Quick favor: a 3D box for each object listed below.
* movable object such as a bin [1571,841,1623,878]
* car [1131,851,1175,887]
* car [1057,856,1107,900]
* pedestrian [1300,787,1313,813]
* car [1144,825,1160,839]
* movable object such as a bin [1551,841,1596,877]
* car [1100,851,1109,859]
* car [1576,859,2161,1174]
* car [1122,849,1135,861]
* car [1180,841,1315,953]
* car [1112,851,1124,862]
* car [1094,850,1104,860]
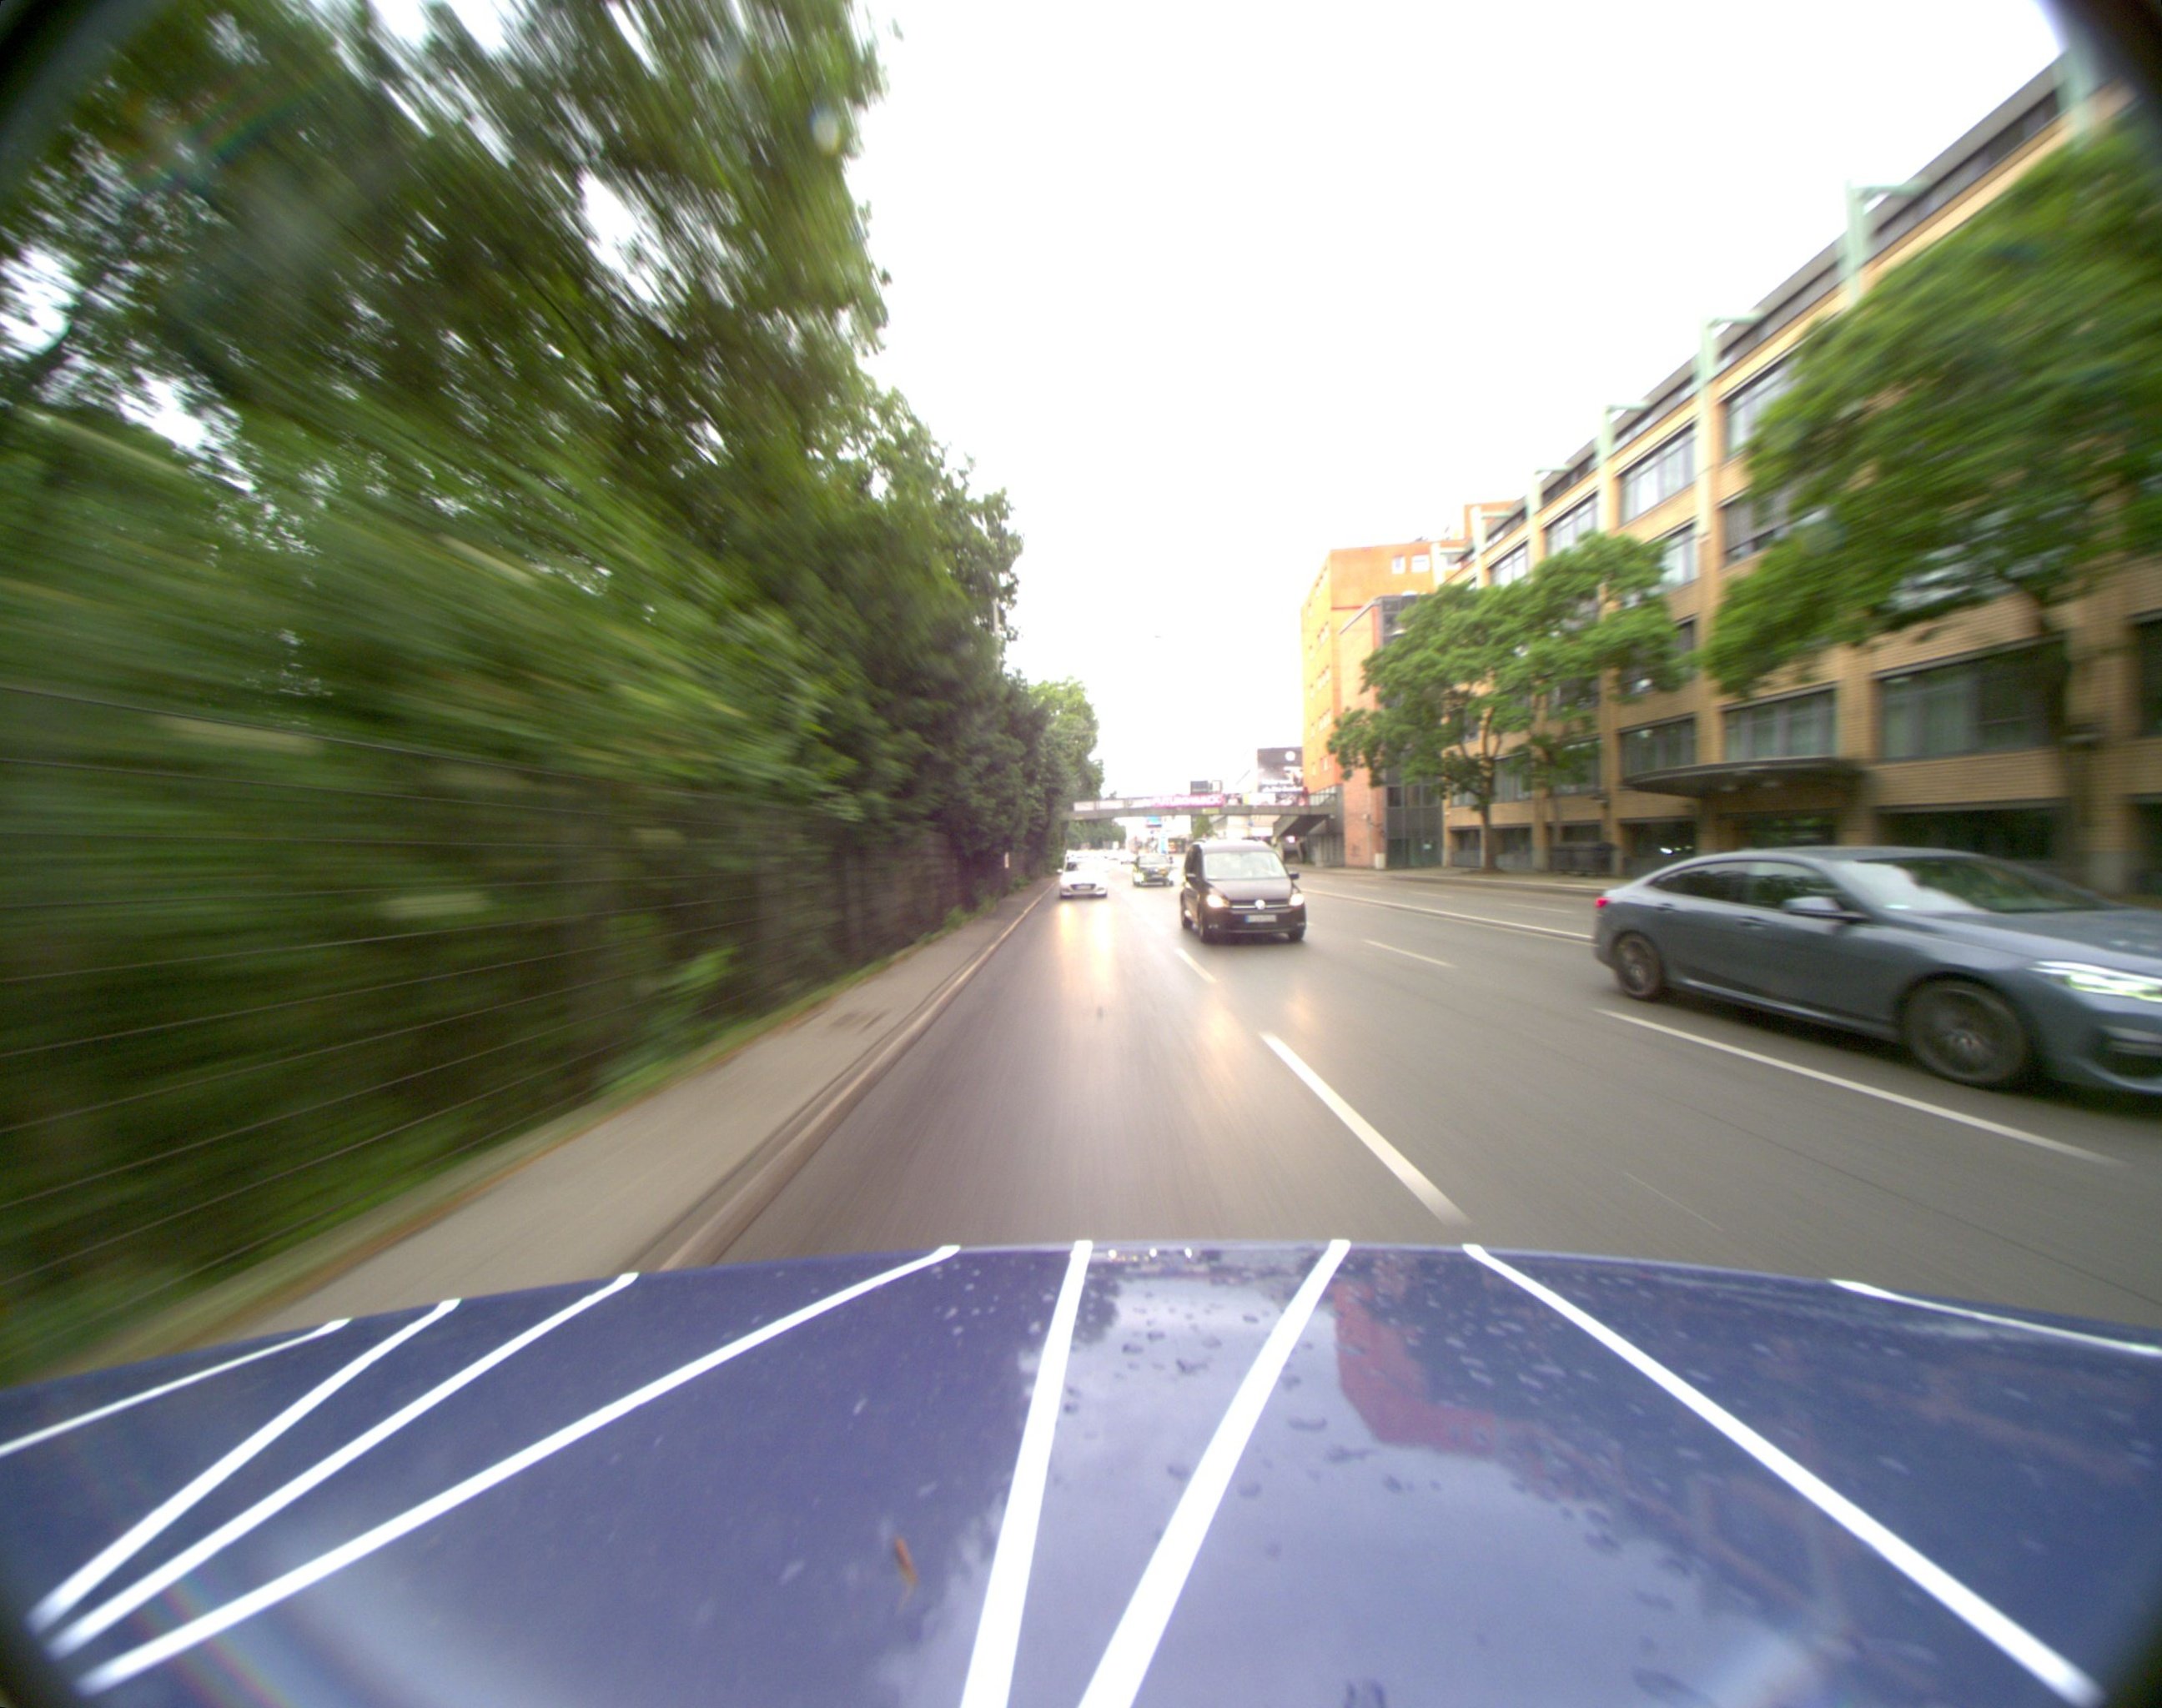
[{"bbox_3d":[20.958,0.220,30.892,1.071,1.428,1.372,-3,0,-4],"label":"movable object such as a bin"},{"bbox_3d":[3.508,0.688,37.552,1.731,1.604,3.999,-2,1,0],"label":"car"},{"bbox_3d":[0.028,0.866,29.172,1.731,1.431,3.999,-2,1,0],"label":"car"},{"bbox_3d":[19.364,-4.639,65.191,0.833,2.242,0.738,-1,1,-5],"label":"pedestrian"},{"bbox_3d":[8.761,-2.737,93.552,1.823,1.602,4.001,-3,1,6],"label":"car"},{"bbox_3d":[20.887,0.207,32.245,0.975,1.428,1.314,-3,0,-4],"label":"movable object such as a bin"},{"bbox_3d":[5.519,0.143,180.573,1.878,1.762,3.999,-3,1,1],"label":"car"},{"bbox_3d":[5.976,0.784,5.665,1.669,1.407,4.539,-1,0,1],"label":"car"},{"bbox_3d":[6.662,0.139,106.735,1.730,1.502,3.732,-2,1,5],"label":"car"},{"bbox_3d":[2.912,0.687,14.118,1.841,1.780,4.001,0,0,3],"label":"car"},{"bbox_3d":[6.744,0.478,139.066,1.878,1.762,3.999,-3,1,1],"label":"car"},{"bbox_3d":[3.583,0.202,151.835,1.878,1.762,3.999,-3,1,1],"label":"car"}]
